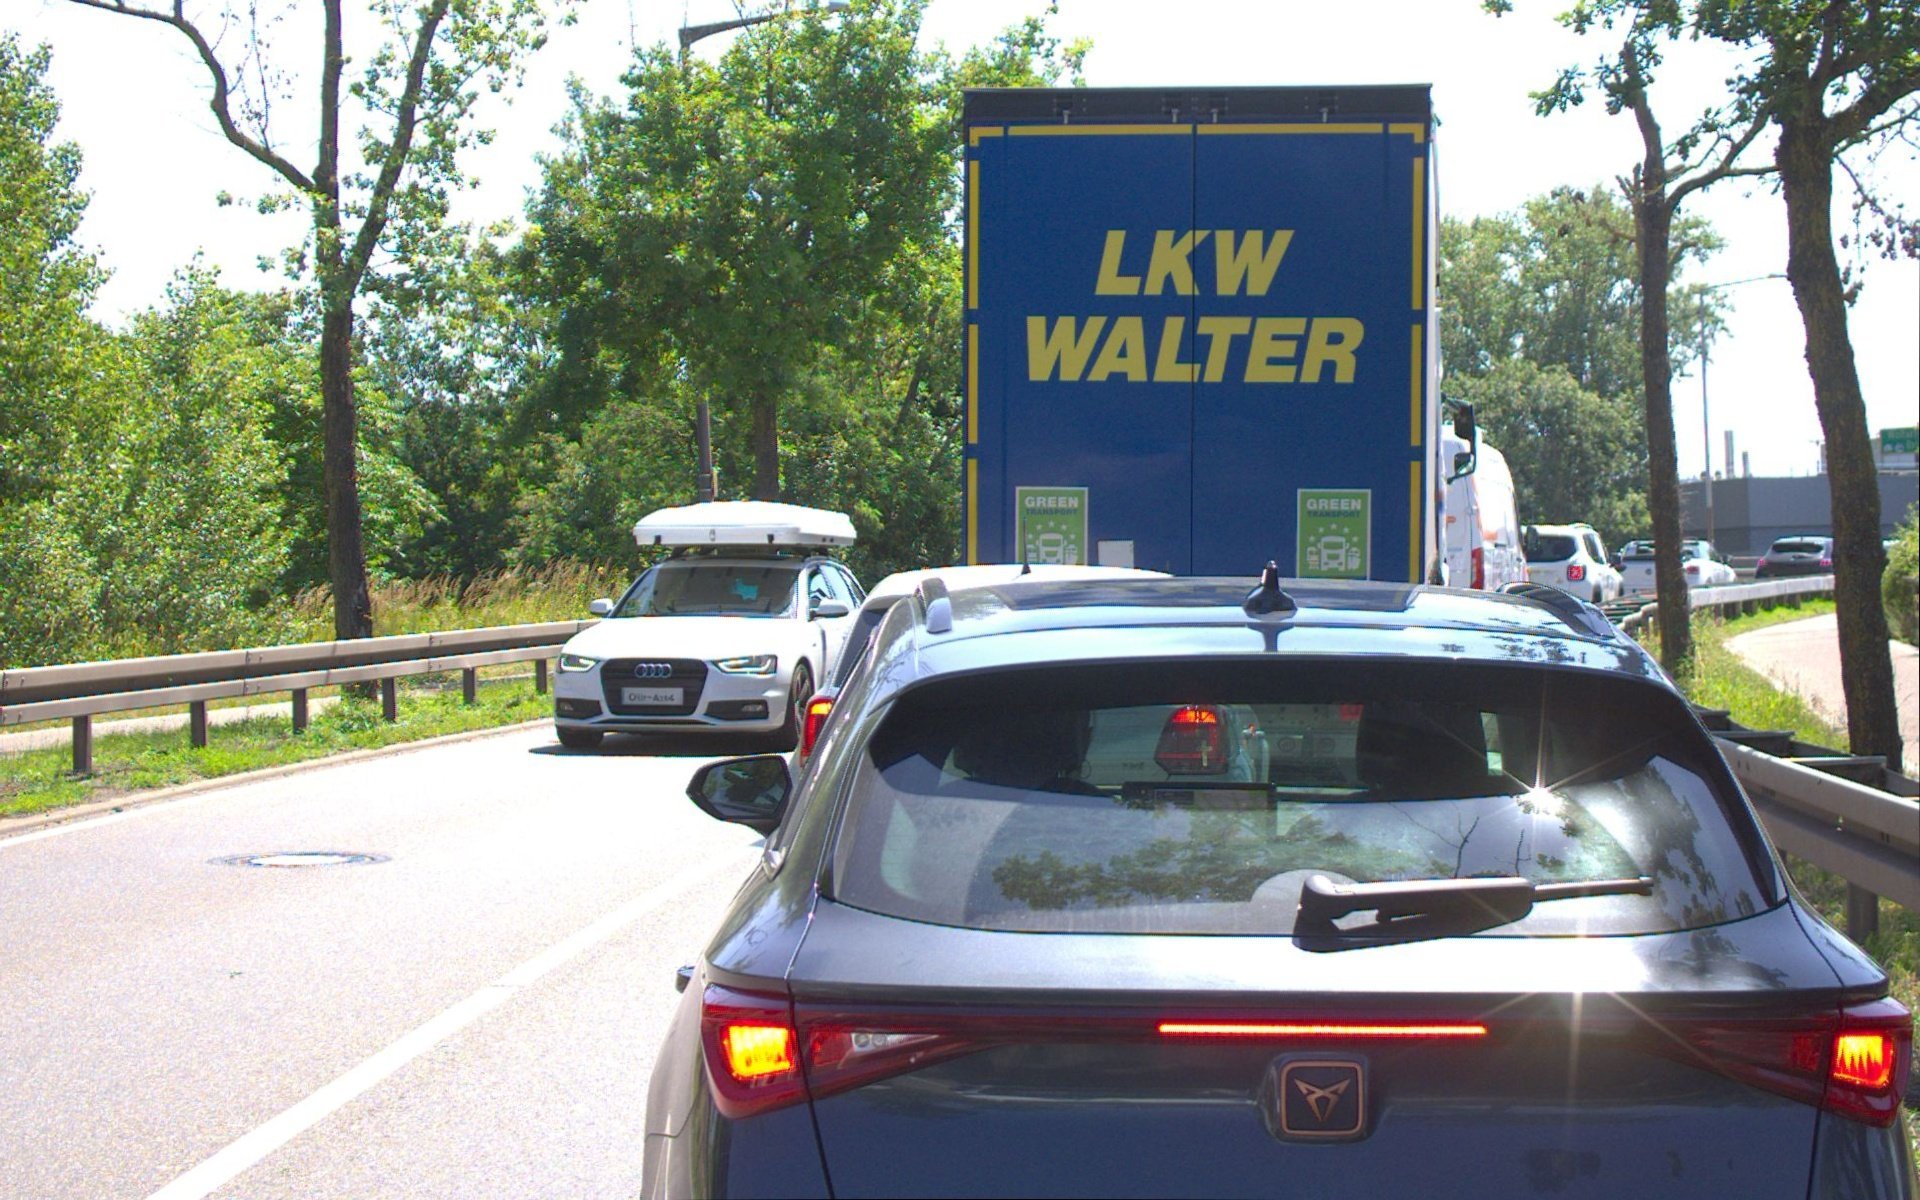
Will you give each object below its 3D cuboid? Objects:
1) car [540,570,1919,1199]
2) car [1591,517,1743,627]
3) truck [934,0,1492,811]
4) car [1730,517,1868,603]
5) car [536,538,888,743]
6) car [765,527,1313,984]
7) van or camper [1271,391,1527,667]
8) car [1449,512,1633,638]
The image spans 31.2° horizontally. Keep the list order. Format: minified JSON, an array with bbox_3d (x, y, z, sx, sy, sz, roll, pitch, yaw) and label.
[{"bbox_3d":[0.414,0.690,5.637,1.744,1.427,3.880,1,1,0],"label":"car"},{"bbox_3d":[12.284,-0.497,59.526,1.995,1.802,4.841,1,1,19],"label":"car"},{"bbox_3d":[2.395,-1.230,26.893,2.950,4.433,16.794,1,1,7],"label":"truck"},{"bbox_3d":[17.534,-0.839,71.700,1.996,1.711,4.862,1,1,23],"label":"car"},{"bbox_3d":[-1.802,0.253,26.450,1.820,1.416,4.465,1,1,8],"label":"car"},{"bbox_3d":[0.287,0.486,13.462,1.809,1.503,4.000,1,1,1],"label":"car"},{"bbox_3d":[5.261,-0.823,40.434,2.467,2.988,6.083,1,1,12],"label":"van or camper"},{"bbox_3d":[8.453,-0.376,49.716,1.995,1.706,4.616,1,1,17],"label":"car"}]
